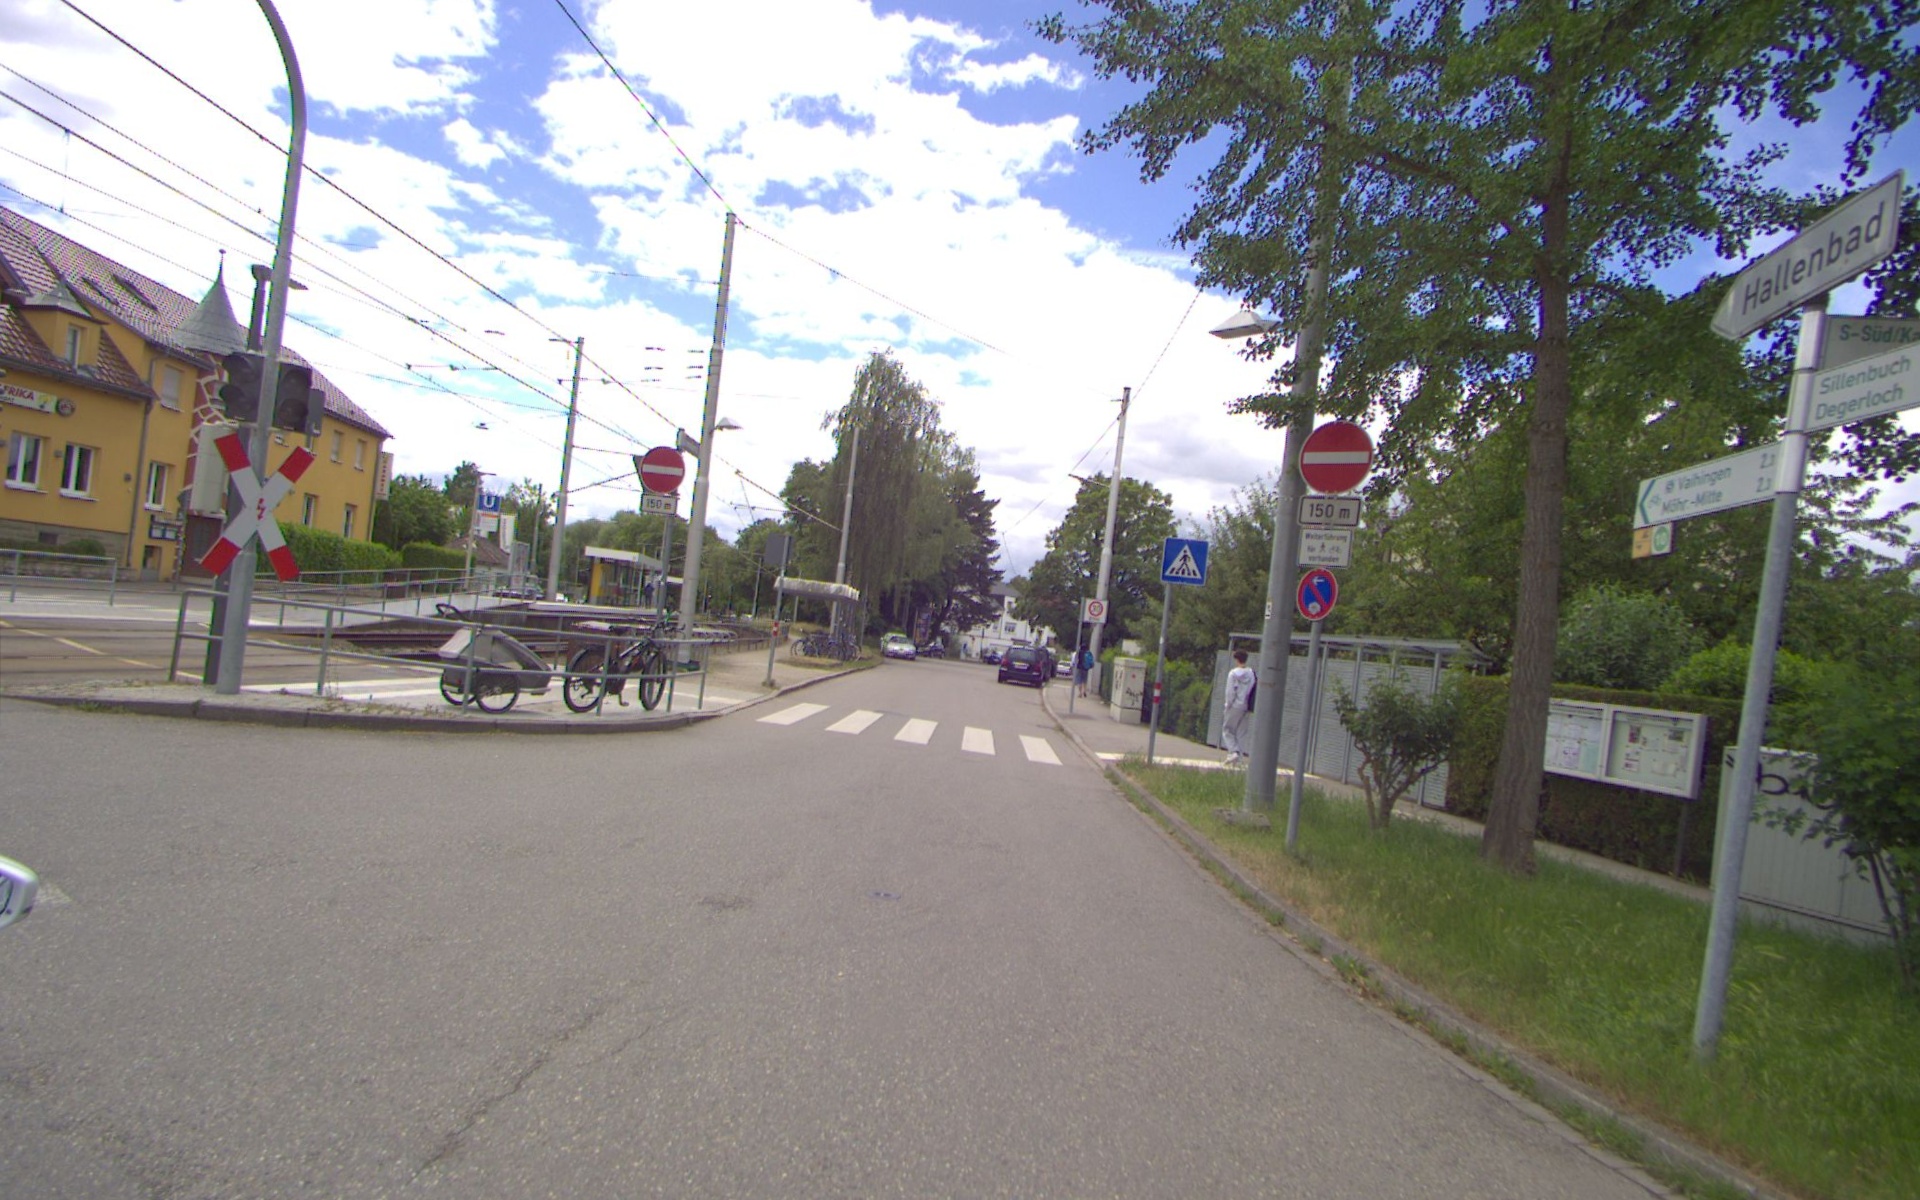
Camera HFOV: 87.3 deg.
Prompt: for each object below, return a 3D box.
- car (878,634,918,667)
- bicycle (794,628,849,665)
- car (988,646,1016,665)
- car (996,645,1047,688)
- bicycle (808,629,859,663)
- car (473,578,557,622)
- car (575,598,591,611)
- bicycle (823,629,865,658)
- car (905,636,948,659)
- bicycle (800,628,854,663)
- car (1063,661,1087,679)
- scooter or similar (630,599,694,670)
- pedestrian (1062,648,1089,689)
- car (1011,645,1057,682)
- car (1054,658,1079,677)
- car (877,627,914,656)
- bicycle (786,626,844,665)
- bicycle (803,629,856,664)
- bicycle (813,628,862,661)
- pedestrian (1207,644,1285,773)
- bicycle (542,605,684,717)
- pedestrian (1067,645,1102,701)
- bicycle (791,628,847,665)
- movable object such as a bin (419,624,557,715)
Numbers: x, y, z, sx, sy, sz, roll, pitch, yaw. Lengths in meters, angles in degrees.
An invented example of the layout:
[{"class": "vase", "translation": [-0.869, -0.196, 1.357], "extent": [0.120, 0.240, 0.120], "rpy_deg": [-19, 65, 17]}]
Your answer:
[{"class": "car", "translation": [-3.693, 2.934, 59.088], "extent": [2.034, 1.592, 4.259], "rpy_deg": [7, -2, -6]}, {"class": "bicycle", "translation": [-4.831, 1.620, 35.202], "extent": [1.738, 1.054, 0.557], "rpy_deg": [7, -1, 0]}, {"class": "car", "translation": [4.312, 5.656, 102.119], "extent": [2.030, 1.592, 4.266], "rpy_deg": [6, -2, 12]}, {"class": "car", "translation": [2.610, 2.730, 41.748], "extent": [1.787, 1.503, 4.427], "rpy_deg": [7, -2, 6]}, {"class": "bicycle", "translation": [-4.723, 1.728, 37.671], "extent": [1.738, 1.054, 0.557], "rpy_deg": [7, -1, 0]}, {"class": "car", "translation": [-21.283, 0.054, 48.328], "extent": [2.323, 1.581, 4.372], "rpy_deg": [8, -3, -7]}, {"class": "car", "translation": [-49.174, 0.607, 131.334], "extent": [1.797, 1.436, 4.448], "rpy_deg": [5, -2, -19]}, {"class": "bicycle", "translation": [-5.112, 1.922, 44.318], "extent": [1.741, 1.054, 0.556], "rpy_deg": [7, -1, -10]}, {"class": "car", "translation": [-2.686, 3.890, 81.964], "extent": [1.890, 1.592, 4.264], "rpy_deg": [6, -2, 20]}, {"class": "bicycle", "translation": [-4.755, 1.636, 36.059], "extent": [1.738, 1.054, 0.557], "rpy_deg": [7, -1, 0]}, {"class": "car", "translation": [12.082, 7.333, 105.482], "extent": [1.787, 1.654, 4.247], "rpy_deg": [6, -2, 15]}, {"class": "scooter or similar", "translation": [-6.052, 0.699, 20.465], "extent": [1.031, 1.332, 0.489], "rpy_deg": [6, 0, 1]}, {"class": "pedestrian", "translation": [5.367, 3.168, 46.723], "extent": [0.814, 1.792, 0.682], "rpy_deg": [6, -1, 34]}, {"class": "car", "translation": [3.926, 3.305, 52.545], "extent": [1.786, 1.654, 4.846], "rpy_deg": [6, -2, 10]}, {"class": "car", "translation": [10.697, 6.763, 100.871], "extent": [1.787, 1.654, 4.247], "rpy_deg": [6, -2, 14]}, {"class": "car", "translation": [-4.237, 2.700, 65.643], "extent": [2.034, 1.592, 4.259], "rpy_deg": [7, -2, -6]}, {"class": "bicycle", "translation": [-4.828, 1.521, 33.580], "extent": [1.738, 1.054, 0.557], "rpy_deg": [7, -1, 0]}, {"class": "bicycle", "translation": [-4.760, 1.691, 36.771], "extent": [1.738, 1.054, 0.557], "rpy_deg": [7, -1, 0]}, {"class": "bicycle", "translation": [-4.779, 1.744, 39.256], "extent": [1.738, 1.054, 0.557], "rpy_deg": [7, -1, 0]}, {"class": "pedestrian", "translation": [4.583, 1.728, 16.155], "extent": [0.617, 1.938, 0.826], "rpy_deg": [6, 0, -24]}, {"class": "bicycle", "translation": [-3.980, 0.725, 11.684], "extent": [0.458, 1.169, 1.693], "rpy_deg": [6, -2, 22]}, {"class": "pedestrian", "translation": [4.103, 2.390, 33.178], "extent": [0.796, 1.705, 0.948], "rpy_deg": [7, -1, -6]}, {"class": "bicycle", "translation": [-4.831, 1.583, 34.483], "extent": [1.738, 1.054, 0.557], "rpy_deg": [7, -1, 0]}, {"class": "movable object such as a bin", "translation": [-4.850, 0.726, 10.391], "extent": [0.569, 0.834, 1.094], "rpy_deg": [6, -2, 26]}]
